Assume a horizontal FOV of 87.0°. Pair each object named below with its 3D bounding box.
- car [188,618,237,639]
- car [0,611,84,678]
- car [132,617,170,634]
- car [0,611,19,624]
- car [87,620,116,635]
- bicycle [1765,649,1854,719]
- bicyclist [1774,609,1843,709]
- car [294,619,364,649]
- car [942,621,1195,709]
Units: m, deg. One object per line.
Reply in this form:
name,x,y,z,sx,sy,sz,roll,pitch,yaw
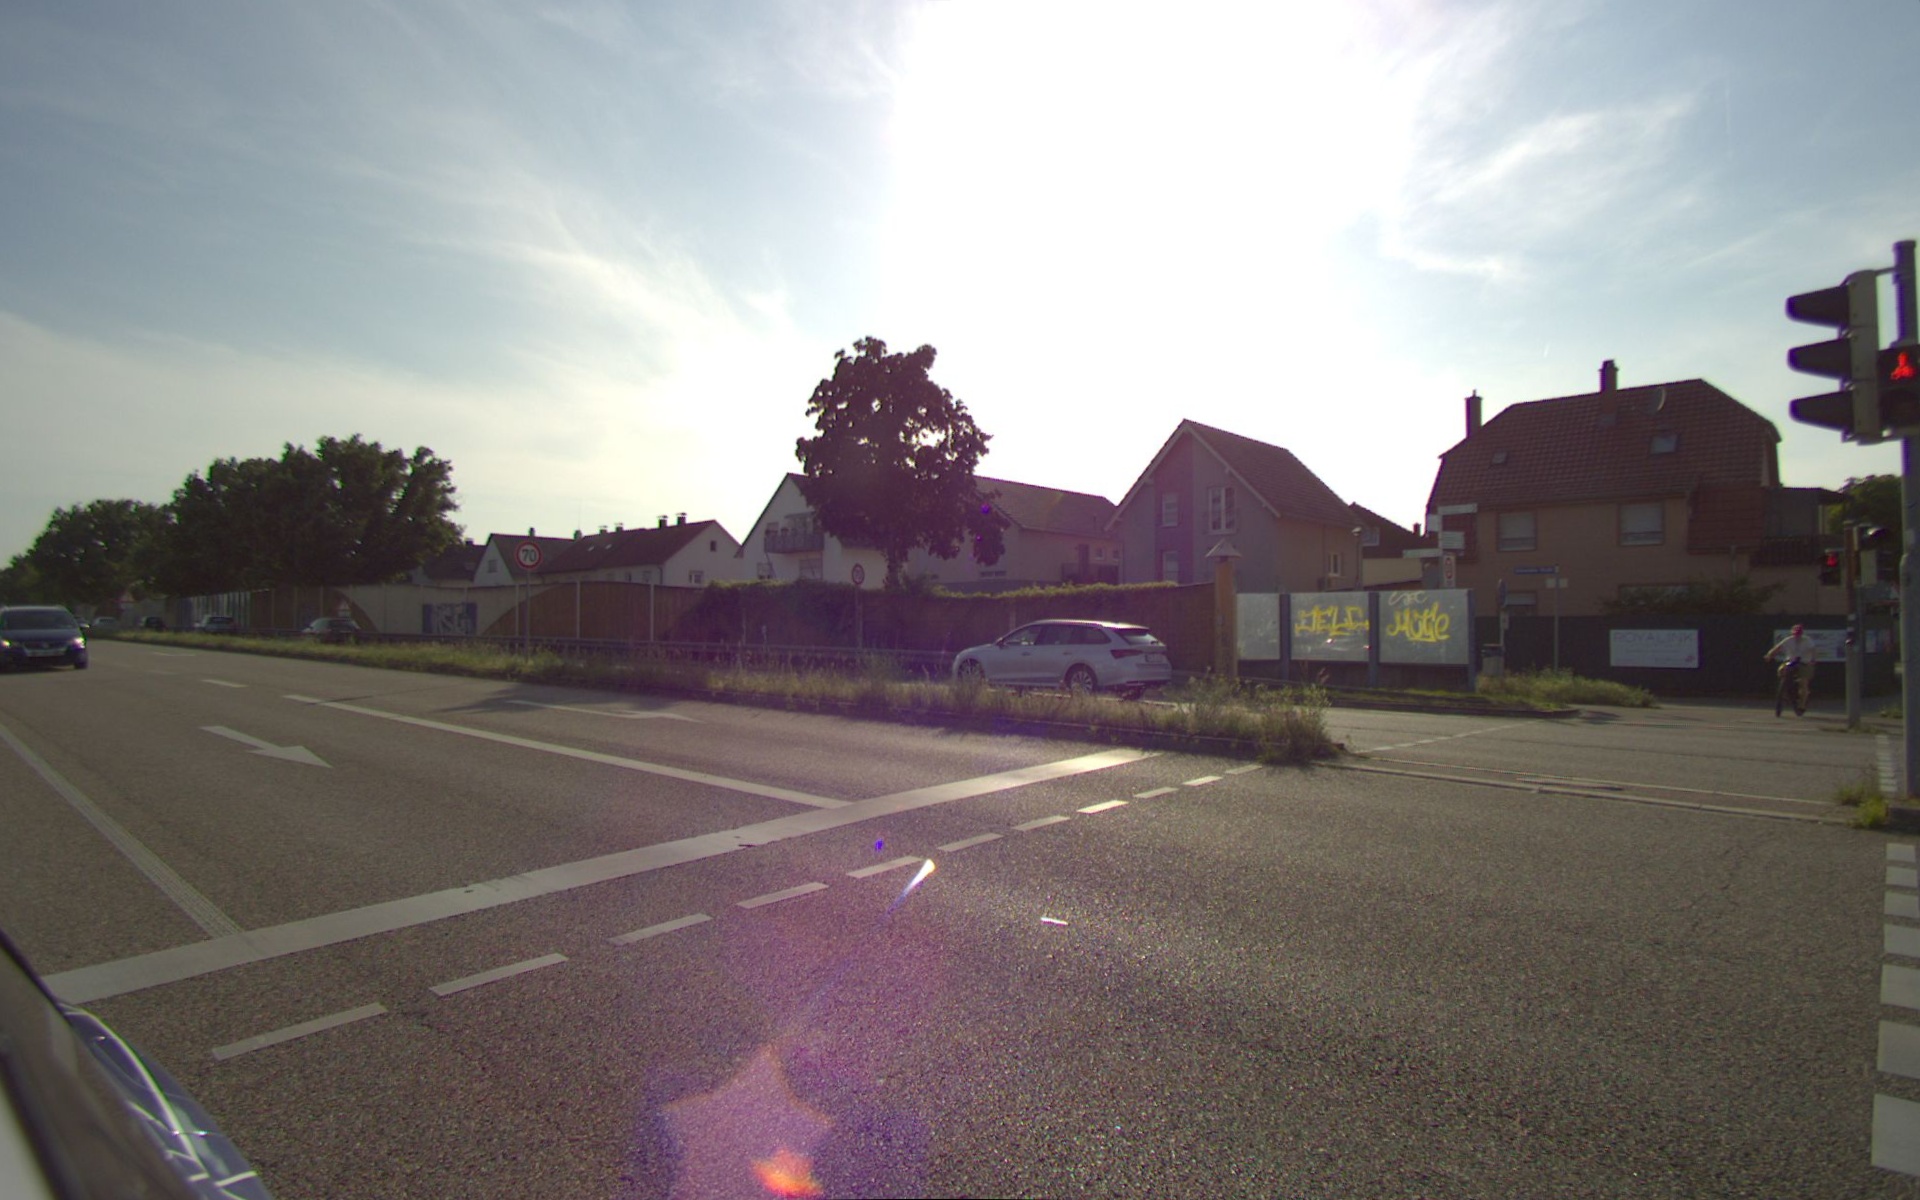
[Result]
car,-50.169,1.884,67.914,3.997,1.364,1.717,-1,0,40
car,-24.591,1.117,26.711,4.682,1.633,1.753,-1,-1,43
car,-67.181,2.093,84.025,3.775,1.363,1.843,-1,-4,43
car,-120.567,2.199,128.268,3.817,1.586,1.663,-1,0,43
car,-83.110,2.668,97.931,3.496,1.371,1.523,-1,-4,40
bicycle,16.028,1.548,19.075,2.128,1.201,0.905,2,-2,-39
bicyclist,15.893,1.096,18.962,0.843,1.800,0.848,4,-3,-39
car,-31.680,1.685,50.758,4.553,1.393,1.770,-1,0,42
car,1.958,1.177,19.346,4.735,1.473,1.734,-1,-3,44
